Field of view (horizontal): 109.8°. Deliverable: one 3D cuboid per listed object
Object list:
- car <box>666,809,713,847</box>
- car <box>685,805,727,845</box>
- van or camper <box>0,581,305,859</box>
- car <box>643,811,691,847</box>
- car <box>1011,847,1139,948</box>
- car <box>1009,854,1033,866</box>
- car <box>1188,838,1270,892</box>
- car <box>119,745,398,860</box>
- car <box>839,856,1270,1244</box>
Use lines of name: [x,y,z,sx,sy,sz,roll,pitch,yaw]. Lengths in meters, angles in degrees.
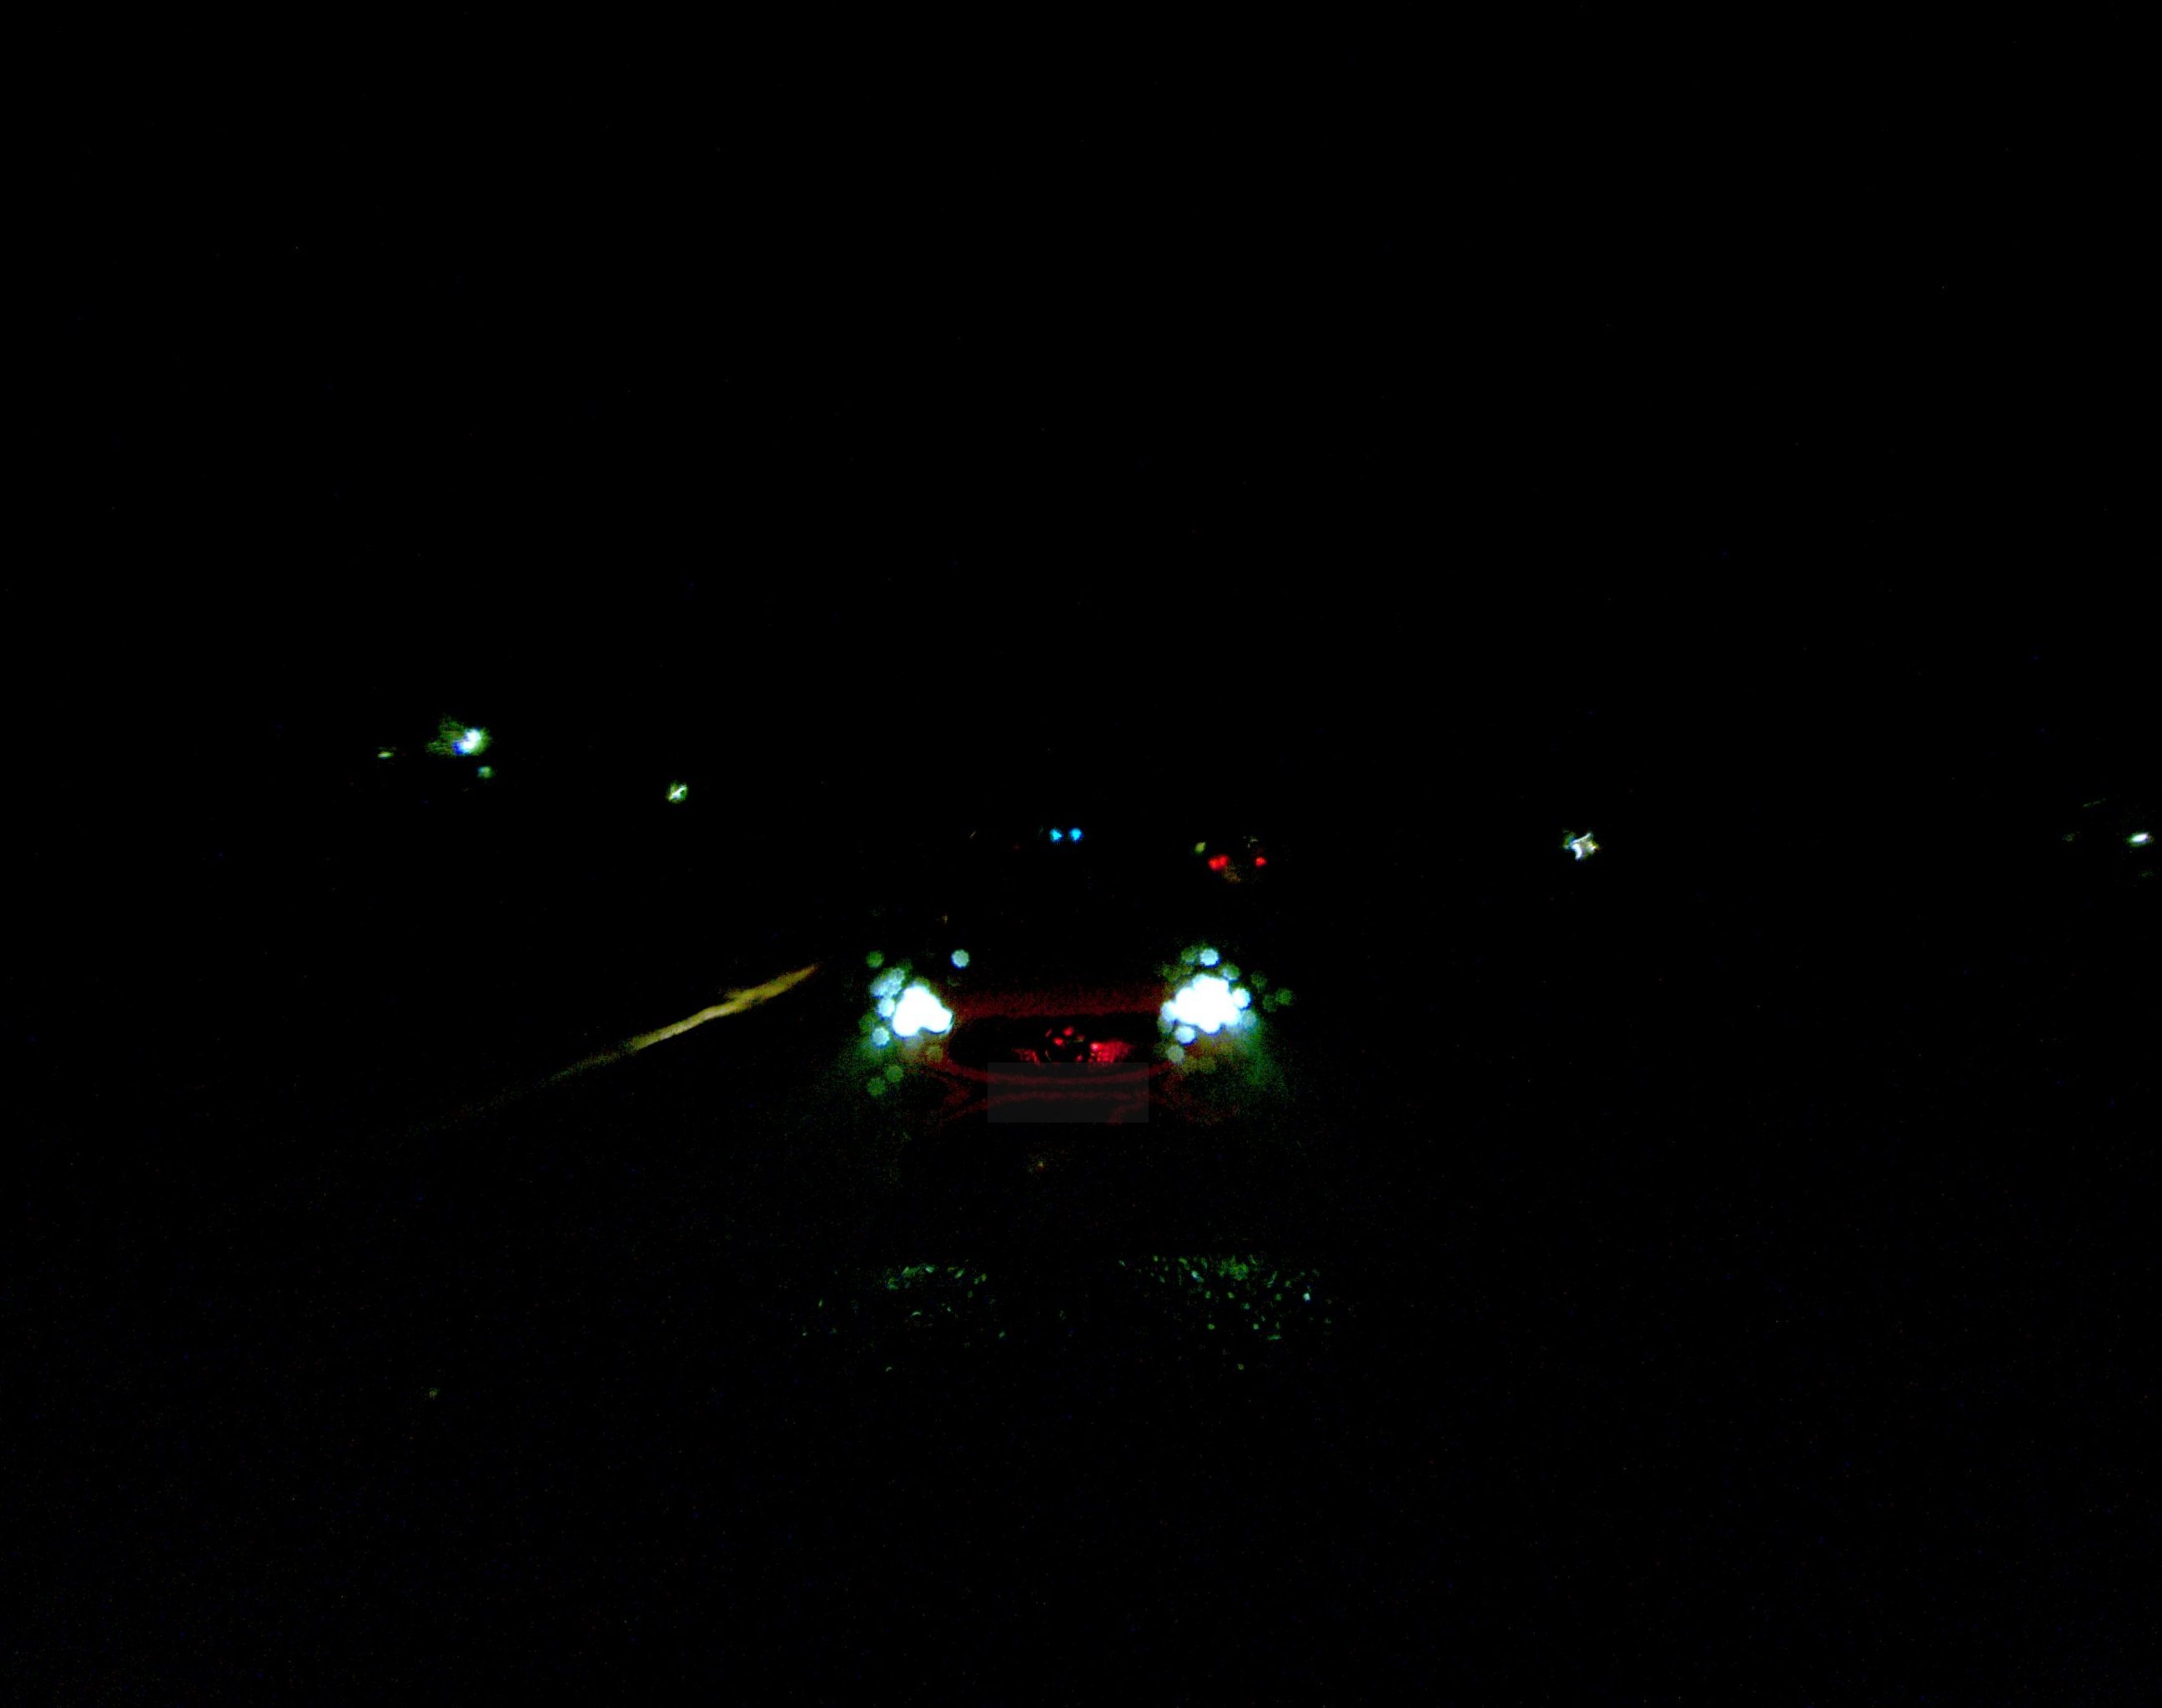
car: [-26.360,-1.711,51.286,1.937,2.406,4.249,-3,1,-16]
car: [-27.837,-2.085,56.489,1.937,2.759,4.249,-3,1,-16]
van or camper: [-12.759,-1.377,9.053,2.417,2.777,5.763,-3,1,-18]
car: [-25.044,-1.501,46.074,1.735,2.002,3.696,-3,1,-16]
car: [0.061,0.774,16.202,1.838,1.725,4.944,-2,1,9]
car: [-10.701,1.086,135.402,3.989,2.002,2.004,-2,1,36]
car: [5.965,0.437,31.277,2.091,2.002,4.712,-2,0,-5]
car: [-16.399,-0.943,15.526,2.001,2.002,3.994,-3,1,-16]
car: [-0.084,0.872,5.502,1.826,1.573,4.354,-2,1,1]
